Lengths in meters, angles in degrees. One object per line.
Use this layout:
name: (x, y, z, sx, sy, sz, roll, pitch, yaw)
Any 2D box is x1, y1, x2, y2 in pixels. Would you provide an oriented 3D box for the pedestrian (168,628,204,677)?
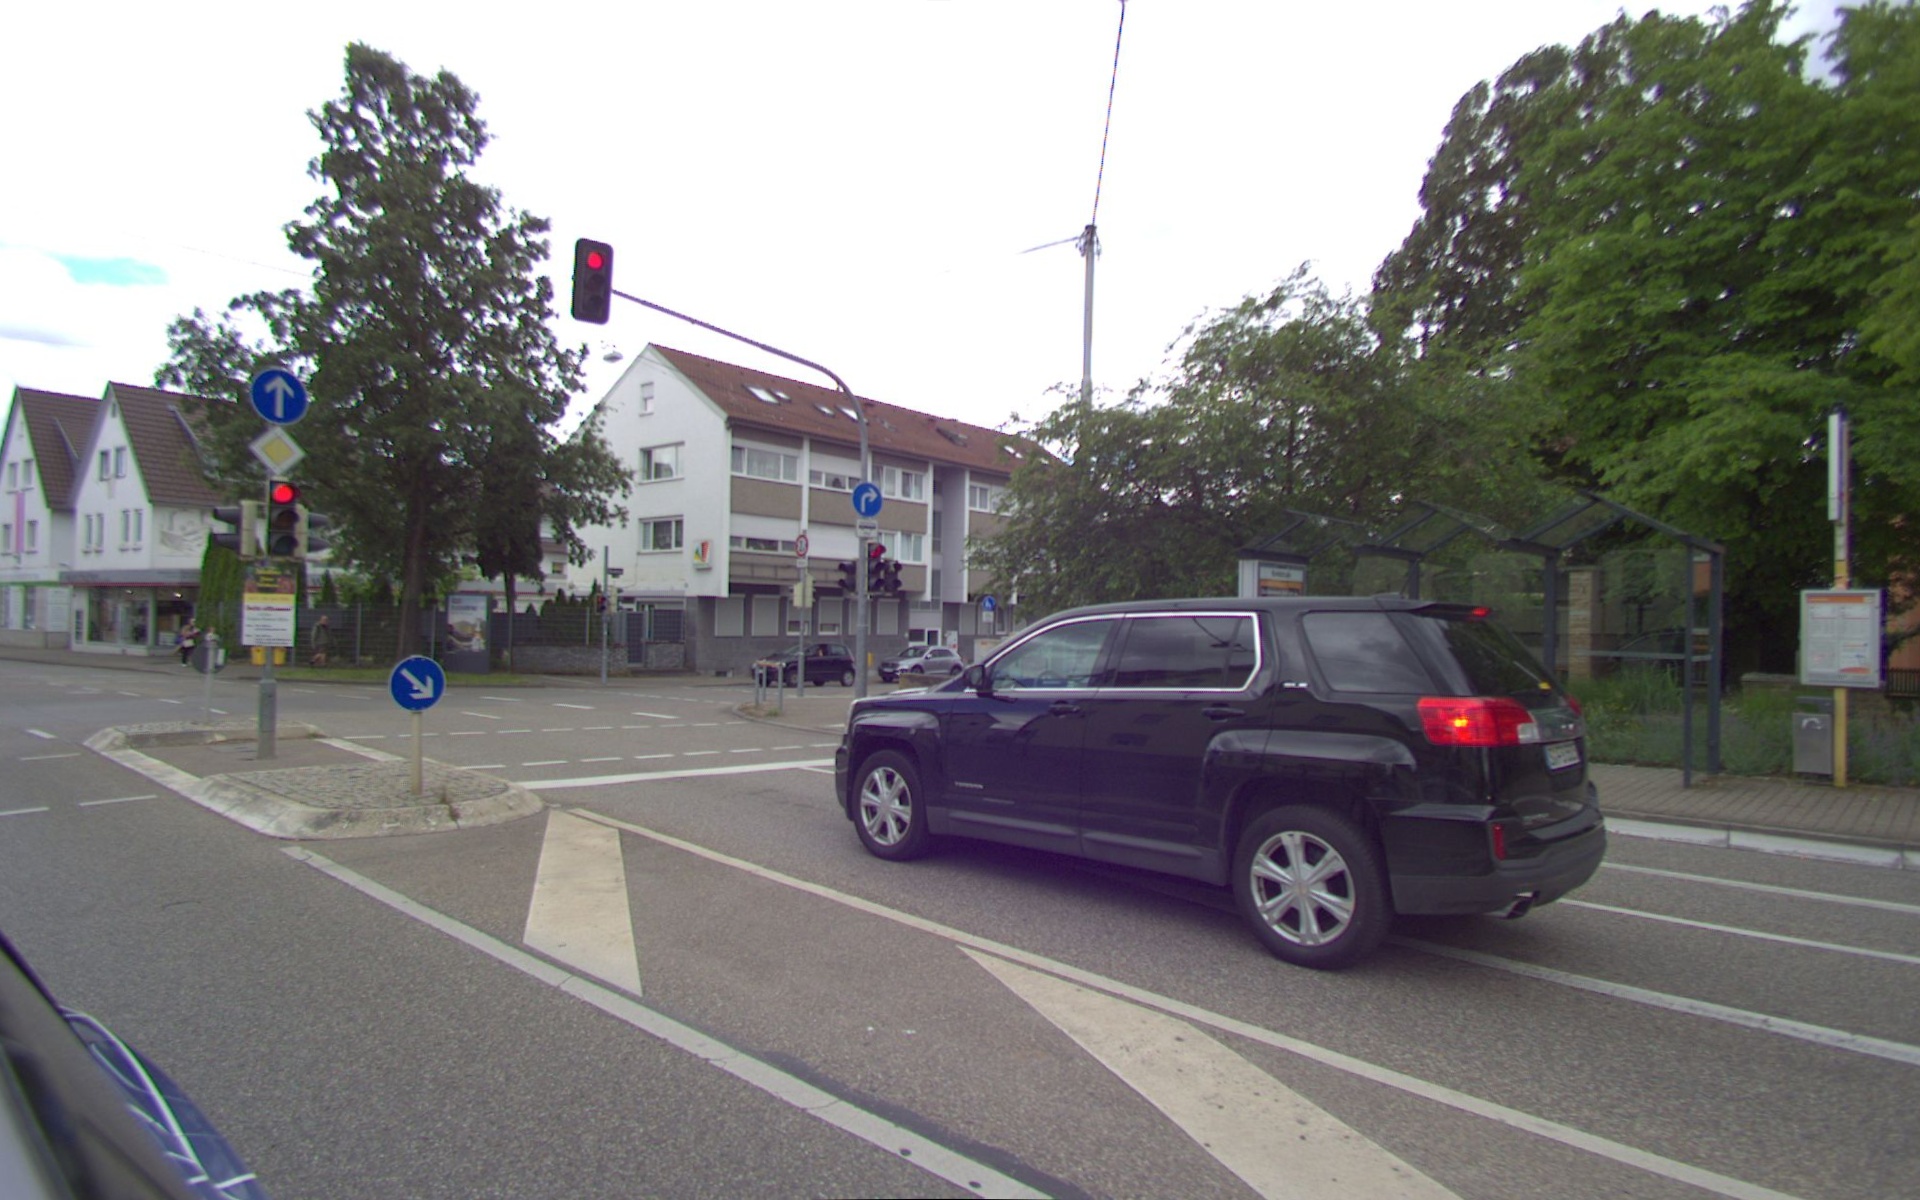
pedestrian: (-26.129, 1.765, 34.163, 0.861, 1.617, 0.636, 0, -1, 25)

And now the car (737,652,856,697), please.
car: (-5.423, 2.462, 33.776, 1.771, 1.409, 3.595, -2, -4, 42)

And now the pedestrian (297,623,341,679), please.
pedestrian: (-21.074, 1.667, 33.285, 1.227, 1.767, 0.814, 0, -1, 35)

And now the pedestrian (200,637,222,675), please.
pedestrian: (-25.635, 1.914, 34.628, 0.547, 1.271, 0.379, 0, -1, 25)

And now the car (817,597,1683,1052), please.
car: (1.290, 0.869, 5.940, 4.597, 1.647, 1.738, 0, -4, 45)

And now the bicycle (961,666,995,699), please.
bicycle: (0.532, 2.403, 29.415, 0.423, 0.949, 1.306, 0, -5, 27)

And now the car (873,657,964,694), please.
car: (-1.694, 3.172, 42.219, 1.756, 1.409, 3.595, -2, -5, 42)
